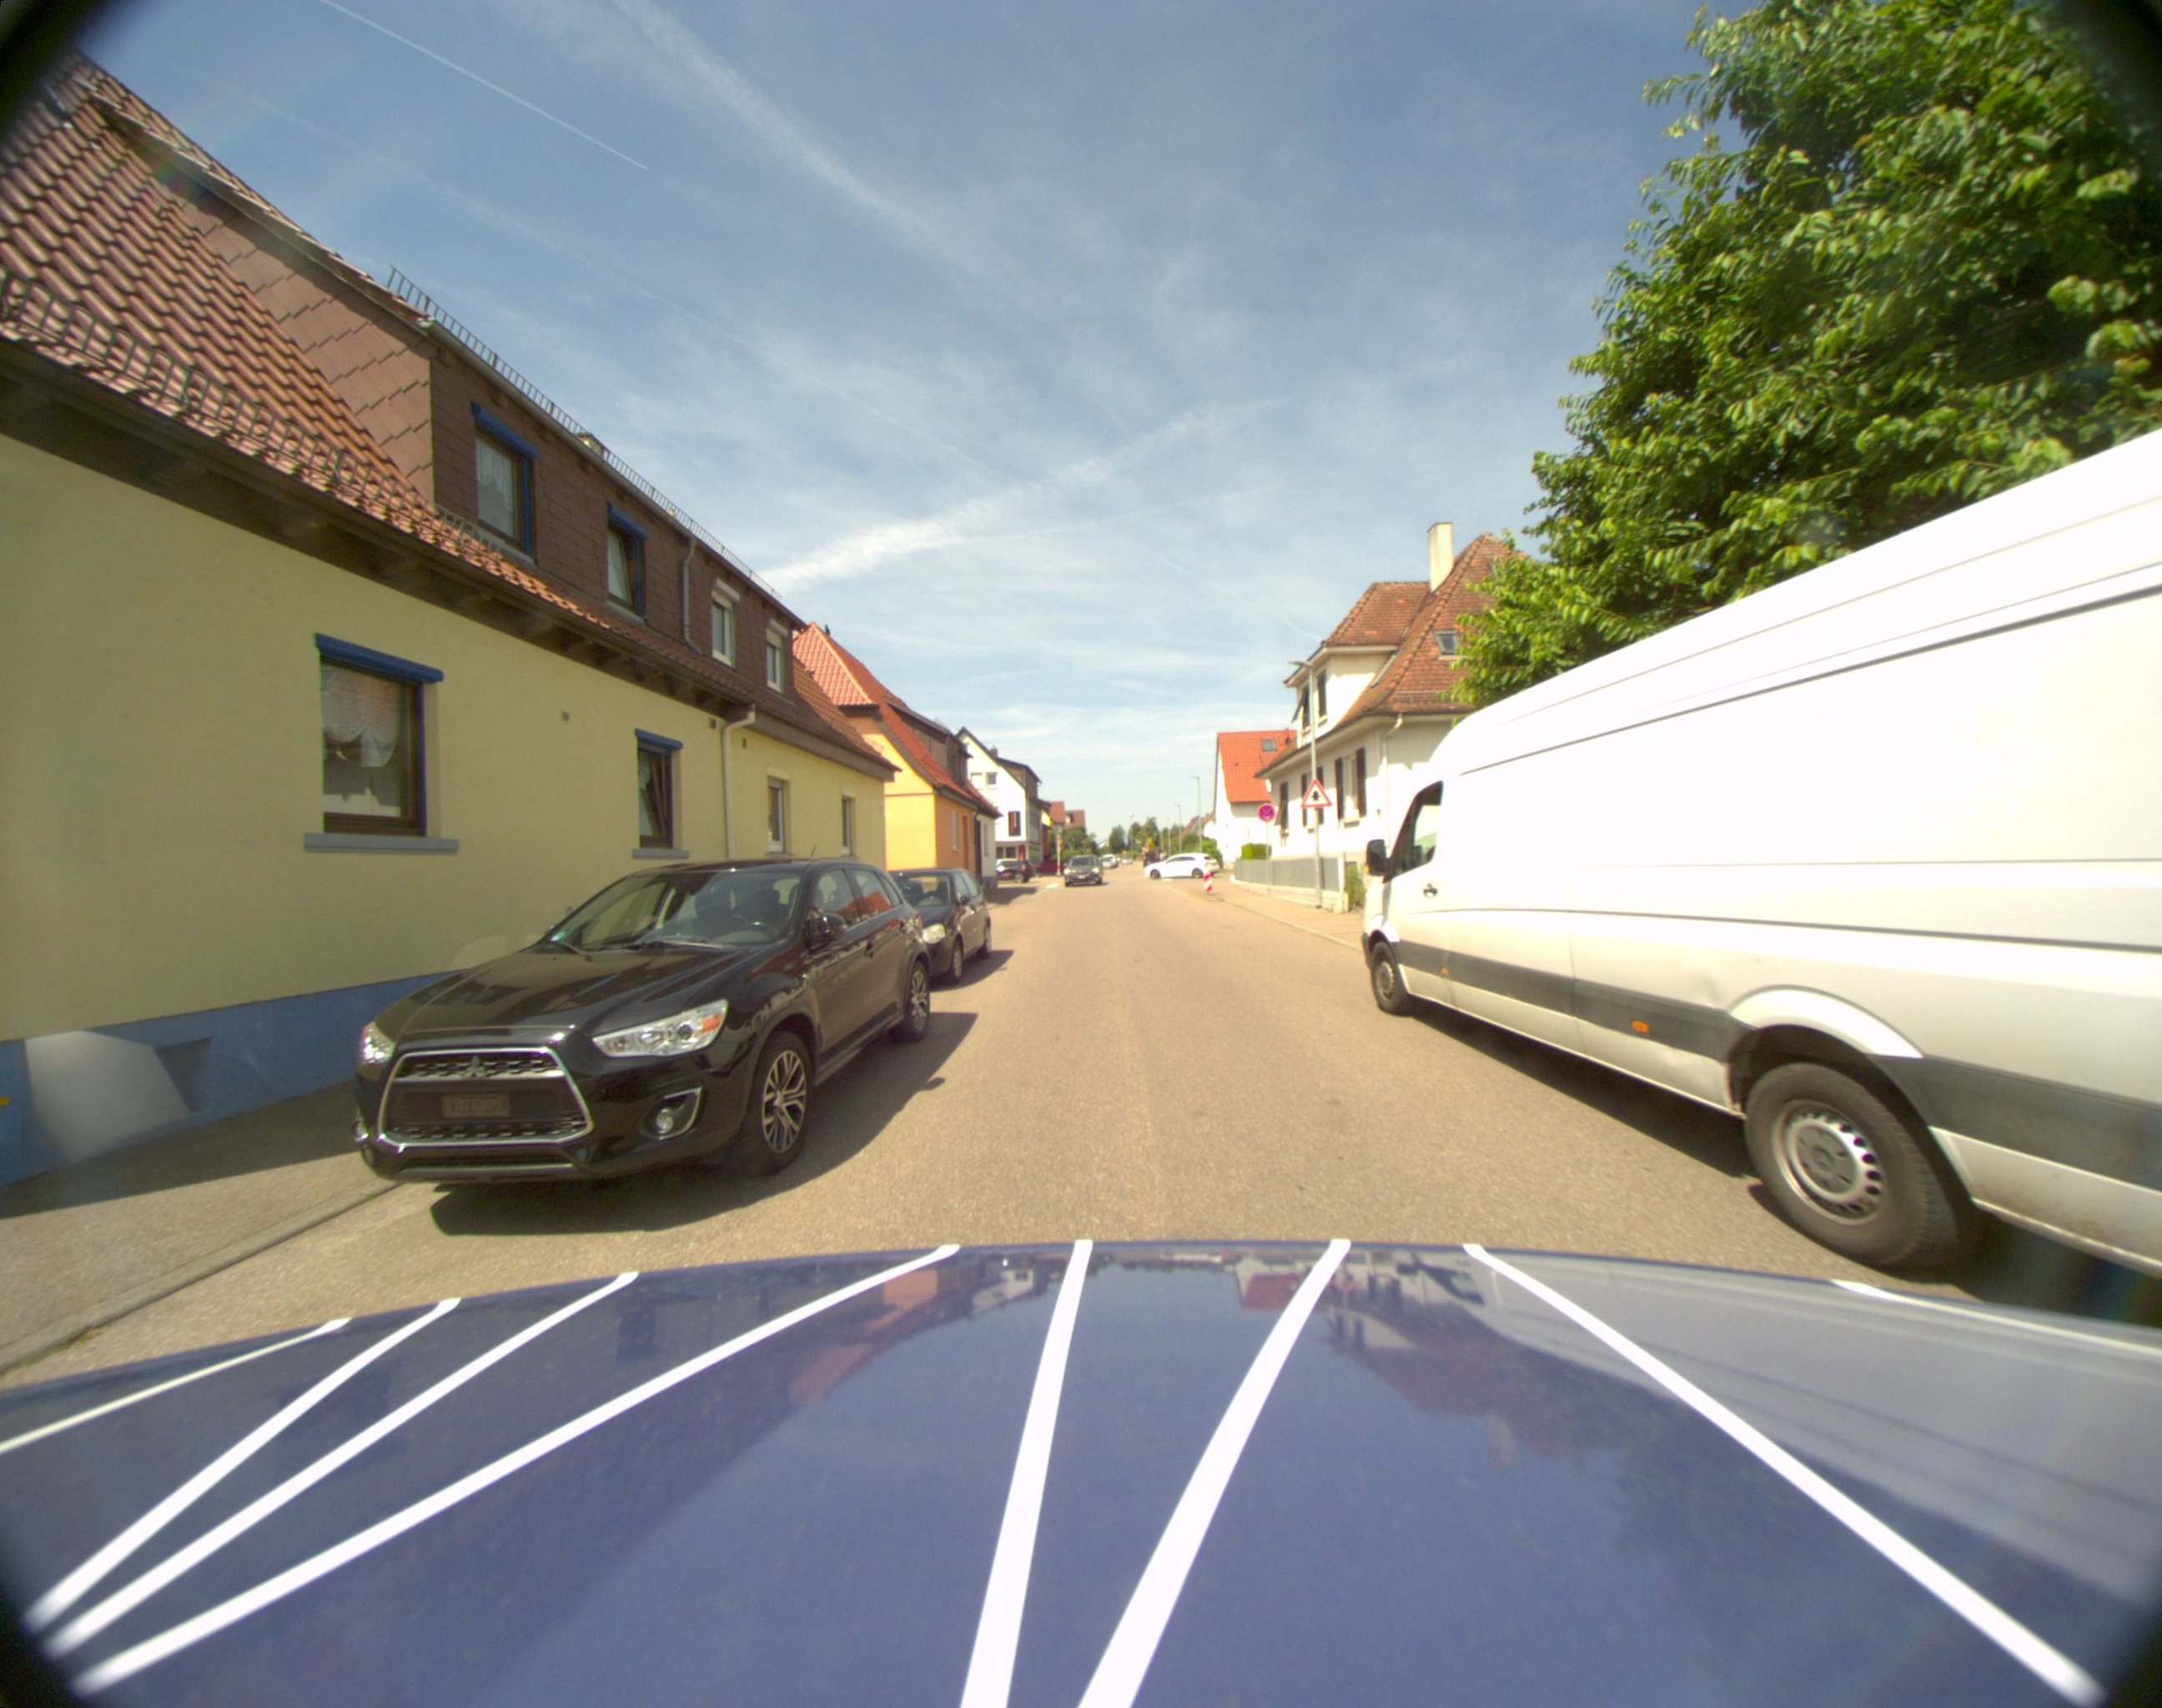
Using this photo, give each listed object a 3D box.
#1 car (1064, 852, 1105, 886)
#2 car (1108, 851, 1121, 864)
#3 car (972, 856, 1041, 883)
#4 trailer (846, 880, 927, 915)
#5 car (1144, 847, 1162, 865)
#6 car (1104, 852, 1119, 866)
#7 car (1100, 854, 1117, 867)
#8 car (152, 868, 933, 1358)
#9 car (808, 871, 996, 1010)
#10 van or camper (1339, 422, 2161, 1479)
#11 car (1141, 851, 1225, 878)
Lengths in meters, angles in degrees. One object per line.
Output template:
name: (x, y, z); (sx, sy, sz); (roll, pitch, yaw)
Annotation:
car: (0.246, 0.736, 40.147); (1.837, 1.637, 4.324); (-3, 0, 4)
car: (4.880, 0.489, 110.750); (1.669, 1.739, 4.057); (-4, 0, 5)
car: (-5.066, 1.039, 52.101); (4.301, 1.643, 1.849); (-3, 0, 10)
trailer: (-5.923, 1.303, 23.131); (2.145, 0.894, 1.240); (-3, 0, -28)
car: (8.469, 0.195, 89.664); (1.972, 1.940, 4.698); (-2, 0, 5)
car: (3.979, 0.582, 98.832); (1.740, 1.652, 4.338); (-4, 0, 5)
car: (3.368, 0.753, 92.460); (1.755, 1.412, 4.422); (-2, 0, 5)
car: (-2.330, 0.969, 4.814); (1.732, 1.590, 4.253); (-3, 0, 2)
car: (-2.243, 1.025, 10.529); (1.615, 1.422, 3.754); (-3, 0, 1)
van or camper: (3.752, 0.204, 4.471); (2.190, 2.556, 6.807); (-3, 0, 1)
car: (6.016, 0.633, 45.074); (4.482, 1.390, 1.933); (-2, 0, 33)
